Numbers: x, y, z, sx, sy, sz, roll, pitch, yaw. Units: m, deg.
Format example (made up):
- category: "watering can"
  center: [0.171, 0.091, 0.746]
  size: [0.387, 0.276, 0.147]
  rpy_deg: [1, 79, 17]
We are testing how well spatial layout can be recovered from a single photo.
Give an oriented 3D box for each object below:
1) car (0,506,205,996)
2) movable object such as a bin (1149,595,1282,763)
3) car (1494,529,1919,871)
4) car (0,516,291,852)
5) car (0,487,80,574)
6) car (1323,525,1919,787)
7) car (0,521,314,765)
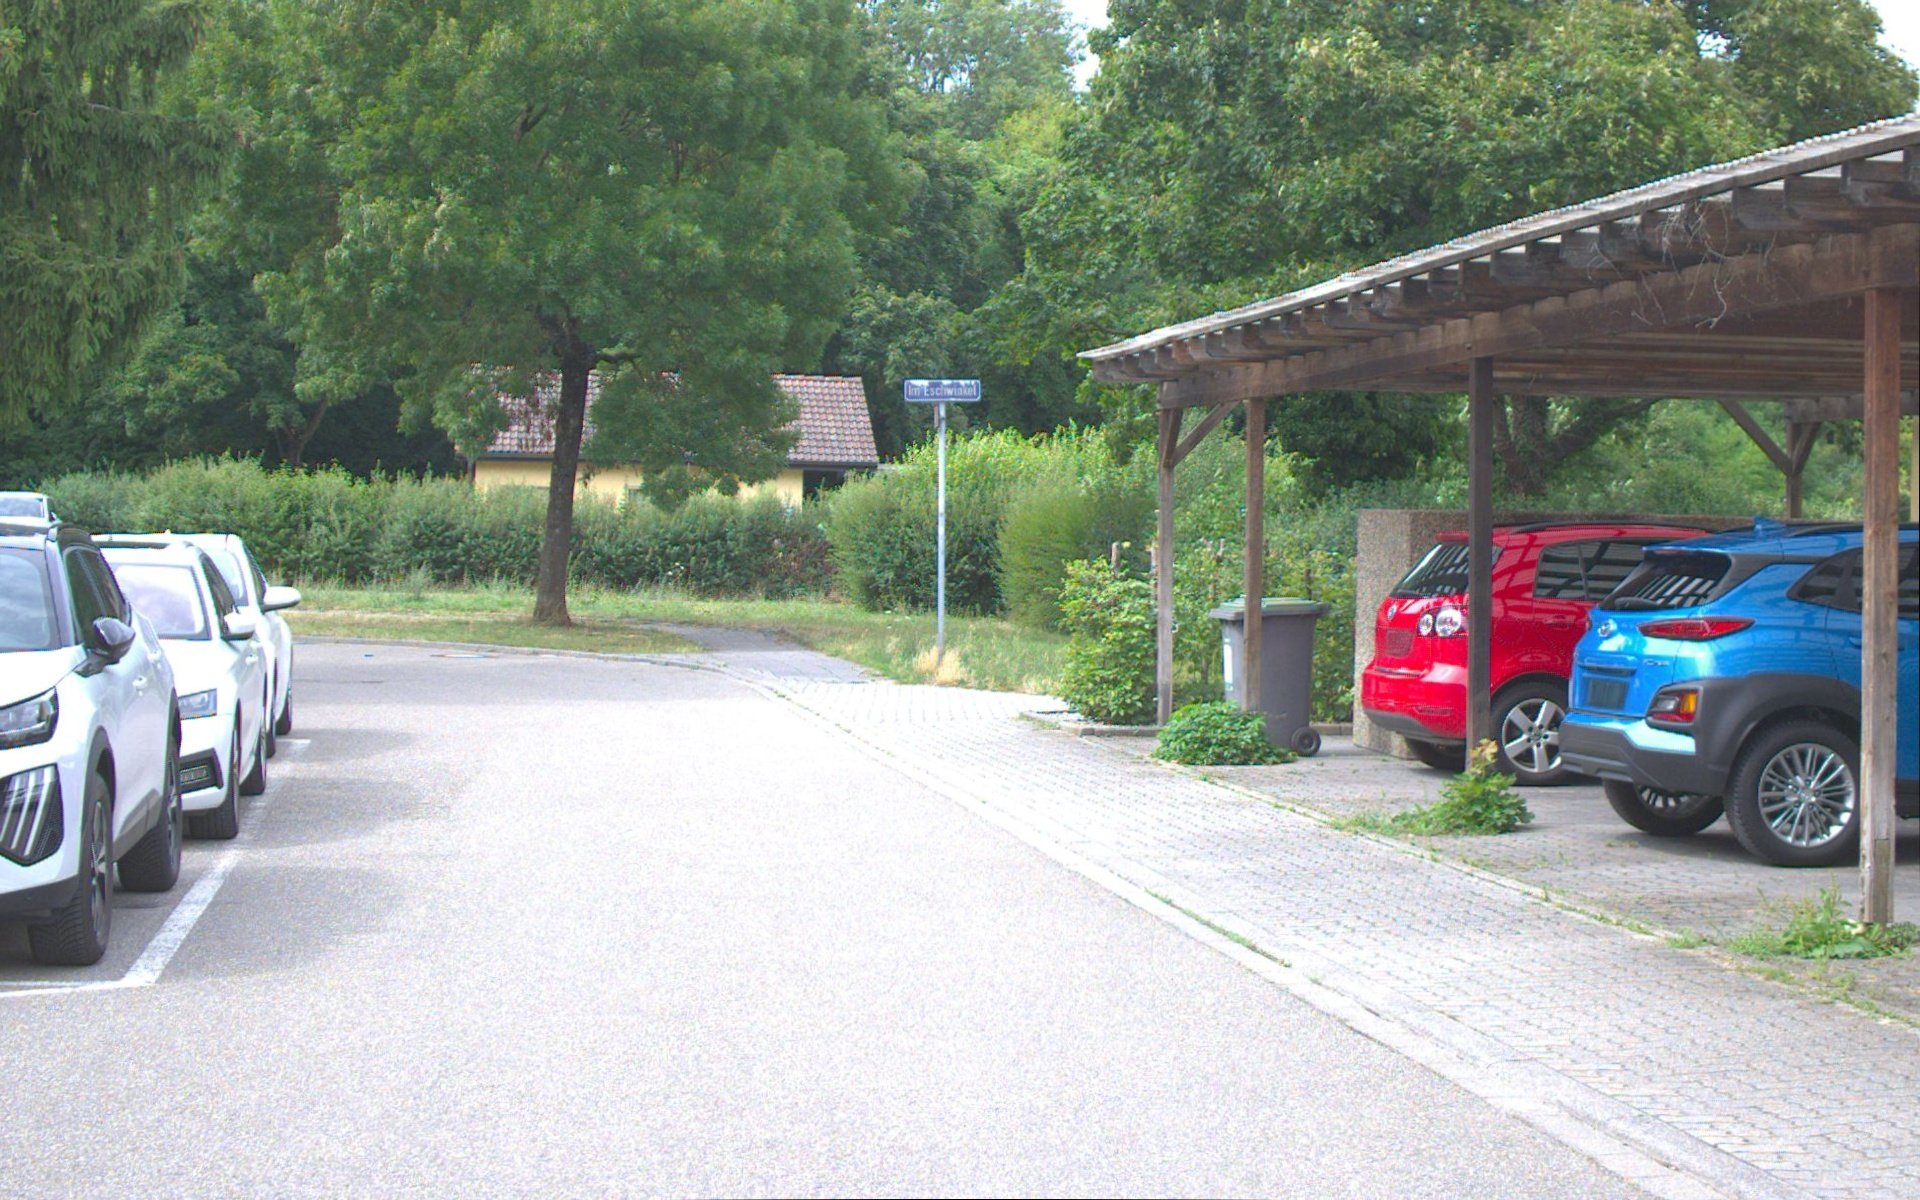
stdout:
- category: "car"
  center: [-4.061, 0.415, 13.064]
  size: [1.933, 1.551, 4.635]
  rpy_deg: [1, 1, -8]
- category: "movable object such as a bin"
  center: [1.662, 0.506, 22.448]
  size: [0.699, 1.068, 0.712]
  rpy_deg: [0, 1, -11]
- category: "car"
  center: [4.860, 0.451, 16.653]
  size: [4.045, 1.517, 1.951]
  rpy_deg: [1, 1, -11]
- category: "car"
  center: [-4.631, 0.341, 18.436]
  size: [1.809, 1.557, 4.849]
  rpy_deg: [1, 1, -8]
- category: "car"
  center: [-18.741, -1.397, 68.258]
  size: [1.937, 1.654, 4.342]
  rpy_deg: [1, 1, -8]
- category: "car"
  center: [4.464, 0.333, 21.566]
  size: [3.956, 1.535, 1.840]
  rpy_deg: [1, 1, -10]
- category: "car"
  center: [-5.510, 0.228, 23.827]
  size: [1.791, 1.526, 4.141]
  rpy_deg: [1, 1, -8]
